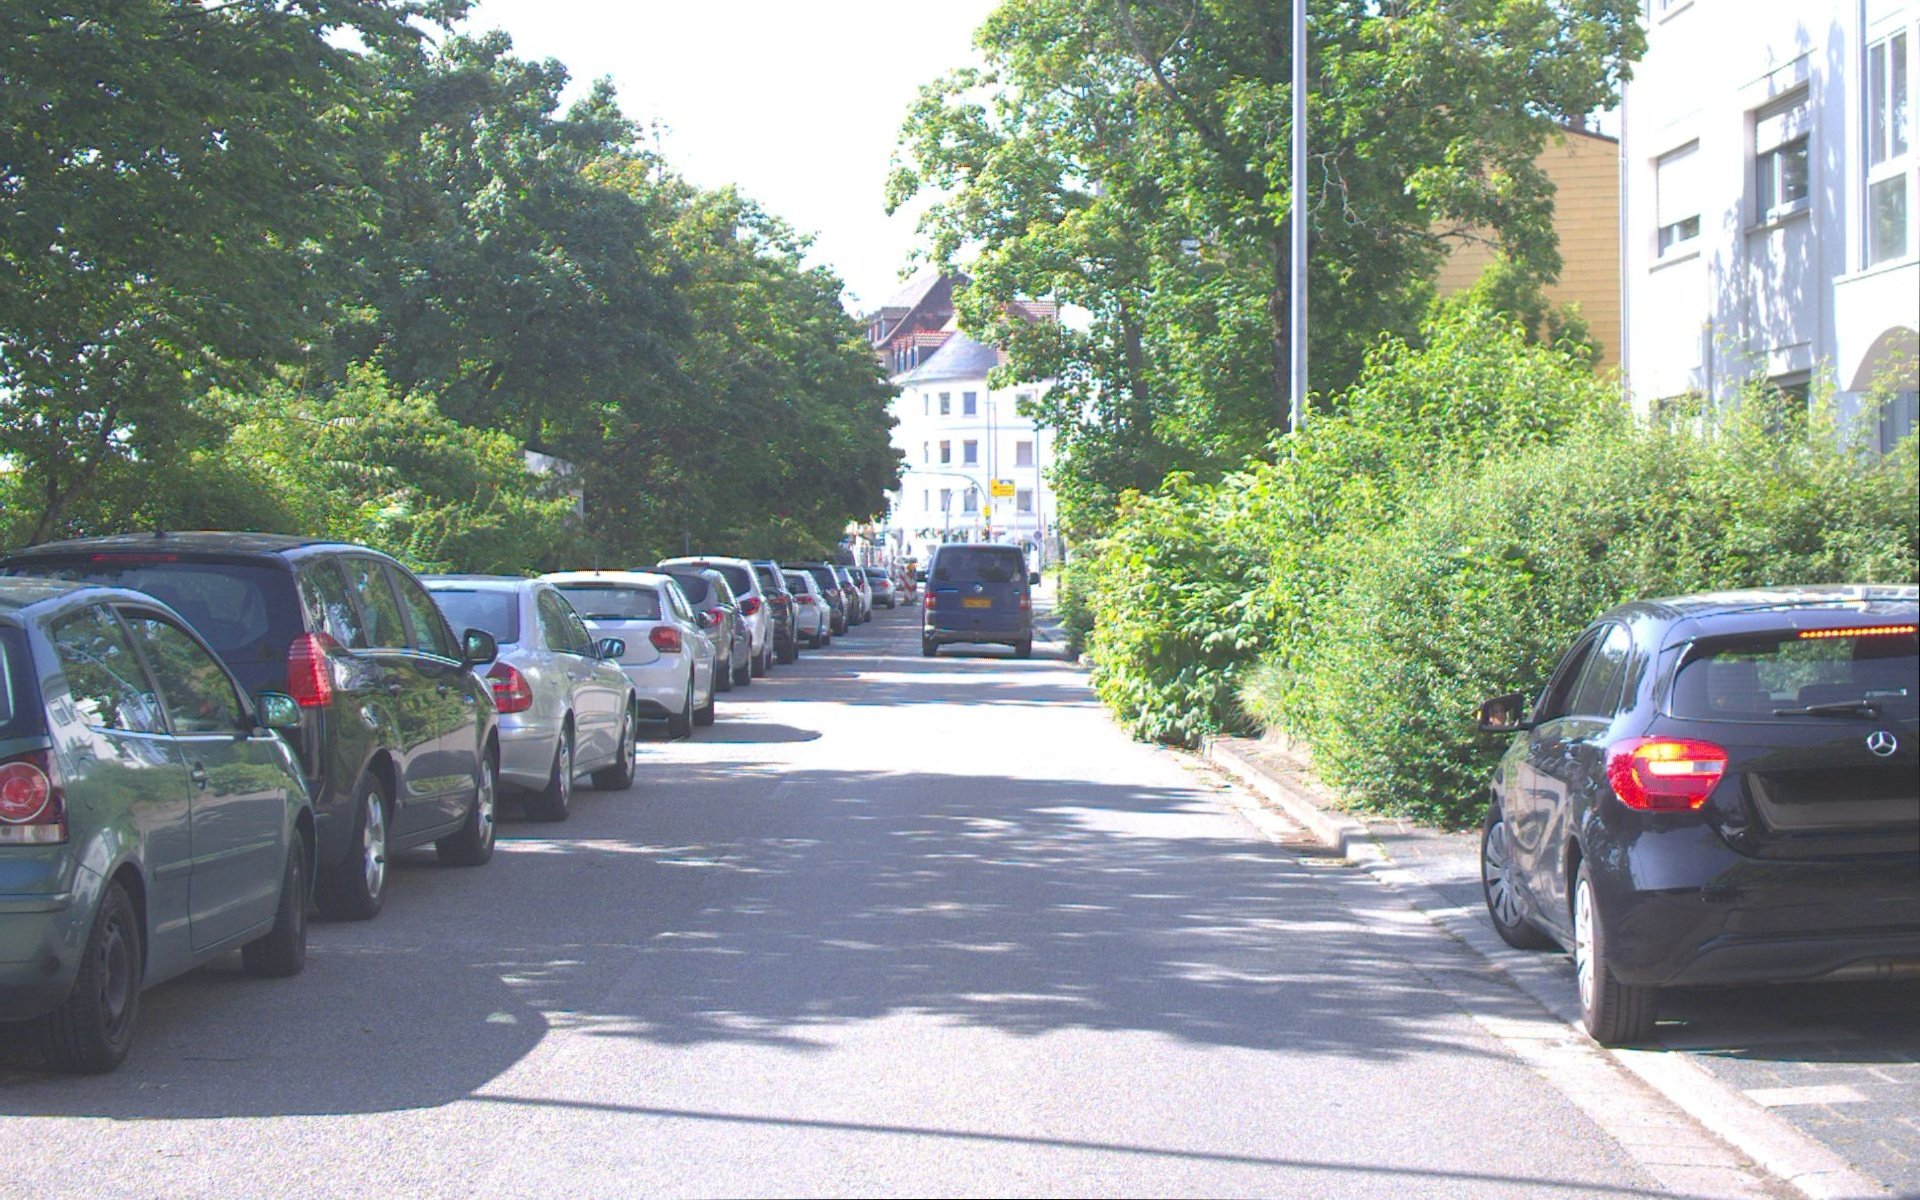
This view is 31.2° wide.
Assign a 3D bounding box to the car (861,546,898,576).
[{"bbox_3d":[-4.455,-2.162,191.055,1.993,1.651,3.741,0,1,-1],"label":"car"}]

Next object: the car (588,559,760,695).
[{"bbox_3d":[-3.434,0.289,41.955,1.664,1.504,4.201,2,1,0],"label":"car"}]

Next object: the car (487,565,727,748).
[{"bbox_3d":[-3.135,0.460,31.241,1.664,1.463,4.201,2,1,0],"label":"car"}]

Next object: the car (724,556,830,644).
[{"bbox_3d":[-3.385,-0.026,64.152,1.664,1.504,4.008,2,1,0],"label":"car"}]

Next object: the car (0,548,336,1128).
[{"bbox_3d":[-3.234,0.603,11.123,1.664,1.506,3.789,2,1,0],"label":"car"}]

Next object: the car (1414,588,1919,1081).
[{"bbox_3d":[2.771,0.696,12.313,1.726,1.415,4.000,-1,1,0],"label":"car"}]

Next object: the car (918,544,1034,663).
[{"bbox_3d":[0.280,0.025,59.665,1.883,1.915,4.008,2,1,1],"label":"car"}]

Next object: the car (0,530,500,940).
[{"bbox_3d":[-3.229,0.502,15.641,1.664,1.578,3.932,2,1,0],"label":"car"}]

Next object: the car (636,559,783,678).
[{"bbox_3d":[-3.445,0.219,47.790,1.664,1.504,4.008,2,1,0],"label":"car"}]

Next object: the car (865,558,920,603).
[{"bbox_3d":[-2.488,-0.732,127.186,1.993,1.651,4.000,0,1,-1],"label":"car"}]

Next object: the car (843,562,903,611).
[{"bbox_3d":[-2.961,-0.481,117.390,1.993,1.651,4.000,0,1,-1],"label":"car"}]

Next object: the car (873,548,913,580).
[{"bbox_3d":[-3.400,-1.827,175.103,1.993,1.651,4.000,0,1,-1],"label":"car"}]

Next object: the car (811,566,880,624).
[{"bbox_3d":[-3.030,-0.146,91.712,1.664,1.504,4.008,1,1,1],"label":"car"}]

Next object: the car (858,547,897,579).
[{"bbox_3d":[-4.371,-1.953,182.073,1.993,1.651,4.000,0,1,-1],"label":"car"}]

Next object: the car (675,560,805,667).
[{"bbox_3d":[-3.353,0.178,53.063,1.664,1.504,4.008,2,1,0],"label":"car"}]

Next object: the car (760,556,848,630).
[{"bbox_3d":[-3.382,-0.172,75.194,1.664,1.504,4.008,2,1,0],"label":"car"}]

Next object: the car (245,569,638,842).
[{"bbox_3d":[-3.042,0.556,20.968,1.664,1.402,4.319,2,1,0],"label":"car"}]

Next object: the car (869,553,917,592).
[{"bbox_3d":[-2.848,-1.170,146.356,1.993,1.651,4.000,0,1,-1],"label":"car"}]

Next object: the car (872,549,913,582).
[{"bbox_3d":[-3.307,-1.711,170.044,1.993,1.651,4.000,0,1,-1],"label":"car"}]
